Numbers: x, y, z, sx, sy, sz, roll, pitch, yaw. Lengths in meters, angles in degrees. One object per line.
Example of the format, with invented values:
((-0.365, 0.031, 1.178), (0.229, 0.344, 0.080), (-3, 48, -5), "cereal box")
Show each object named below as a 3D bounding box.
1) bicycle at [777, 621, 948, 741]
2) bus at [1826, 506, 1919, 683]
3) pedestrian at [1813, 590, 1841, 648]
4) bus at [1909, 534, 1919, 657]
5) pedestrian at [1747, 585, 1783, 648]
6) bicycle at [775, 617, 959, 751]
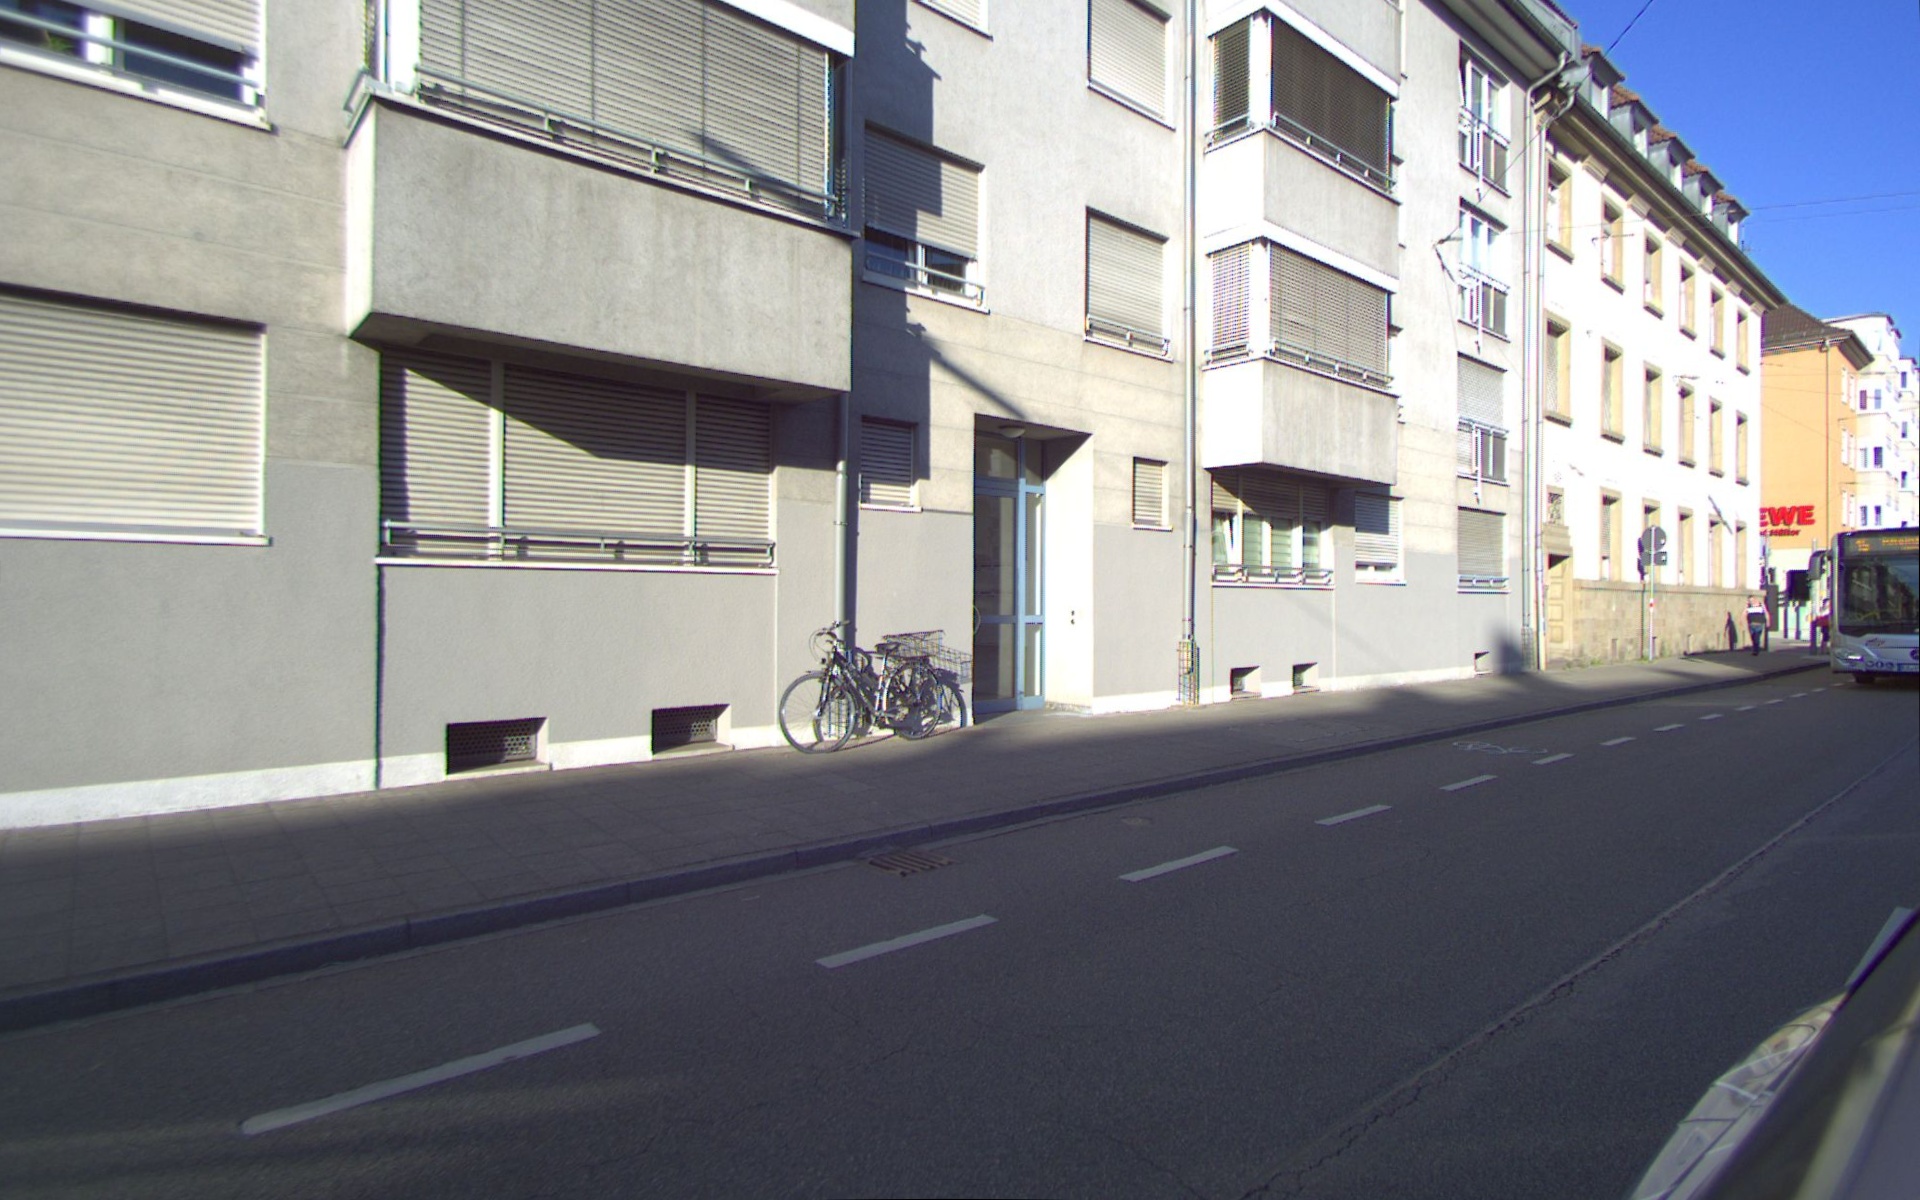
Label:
((-0.861, 0.704, 9.296), (1.700, 0.983, 0.279), (0, 3, -42), "bicycle")
((20.986, -0.112, 21.204), (10.414, 3.116, 2.729), (0, -1, -41), "bus")
((26.865, 0.581, 31.368), (0.438, 1.753, 0.527), (3, 1, -42), "pedestrian")
((28.910, -0.153, 28.005), (10.414, 3.117, 2.710), (0, -1, -41), "bus")
((22.924, 0.460, 28.836), (0.549, 1.752, 0.648), (1, 2, -40), "pedestrian")
((-0.778, 0.691, 8.897), (1.700, 1.044, 0.360), (0, 3, -42), "bicycle")
